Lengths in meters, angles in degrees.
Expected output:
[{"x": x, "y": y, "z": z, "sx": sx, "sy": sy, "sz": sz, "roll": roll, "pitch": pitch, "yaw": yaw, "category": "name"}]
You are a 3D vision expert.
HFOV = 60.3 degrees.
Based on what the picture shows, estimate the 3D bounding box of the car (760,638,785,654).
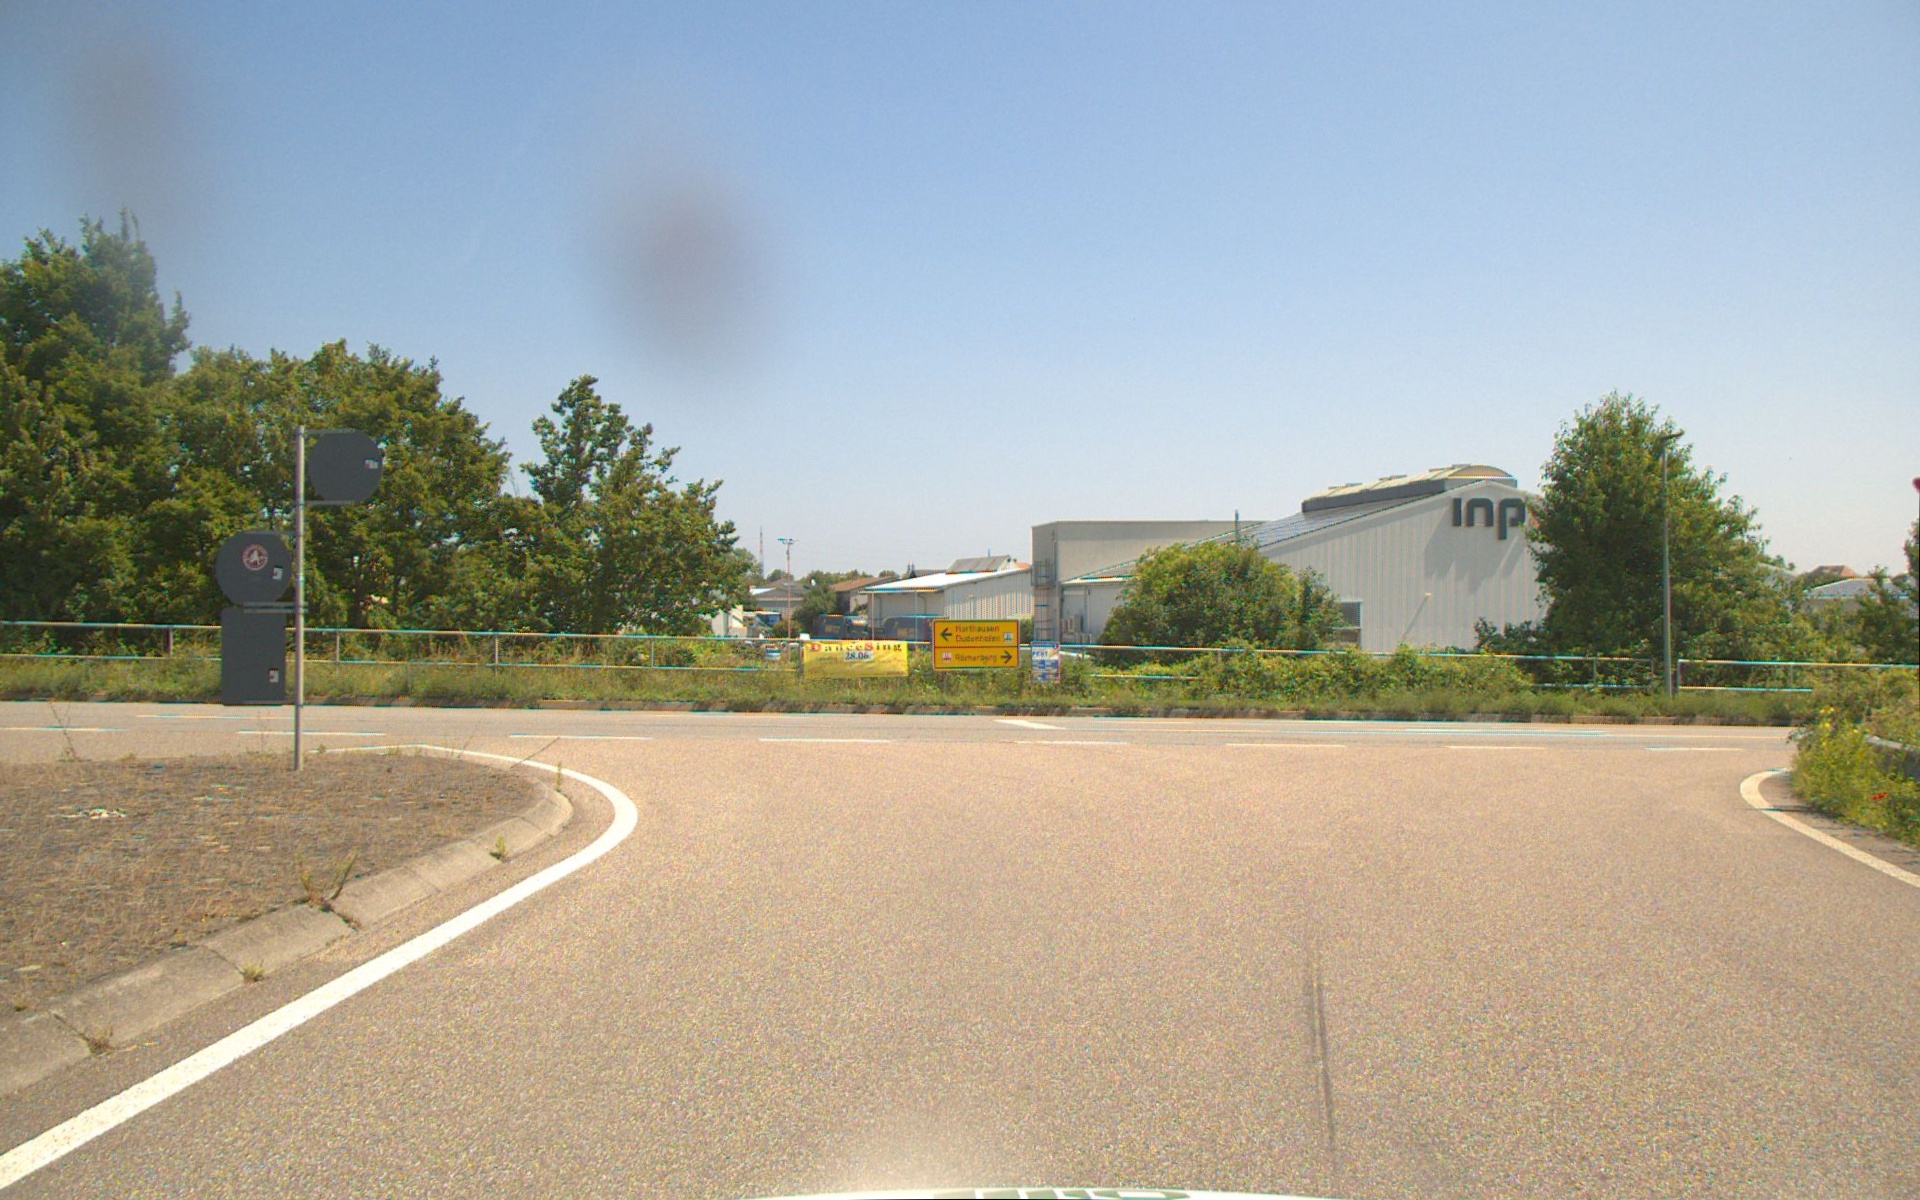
[{"x": -21.017, "y": 5.140, "z": 185.242, "sx": 1.962, "sy": 1.761, "sz": 4.840, "roll": 2, "pitch": -1, "yaw": -17, "category": "car"}]

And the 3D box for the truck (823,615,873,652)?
[{"x": -13.895, "y": 4.067, "z": 203.759, "sx": 3.356, "sy": 4.386, "sz": 14.531, "roll": 1, "pitch": -1, "yaw": -15, "category": "truck"}]

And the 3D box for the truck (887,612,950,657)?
[{"x": -4.374, "y": 3.508, "z": 170.568, "sx": 3.646, "sy": 4.386, "sz": 13.290, "roll": 1, "pitch": -1, "yaw": -14, "category": "truck"}]

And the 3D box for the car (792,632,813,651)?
[{"x": -18.304, "y": 4.821, "z": 192.117, "sx": 1.689, "sy": 2.049, "sz": 3.982, "roll": 1, "pitch": -1, "yaw": -16, "category": "car"}]
